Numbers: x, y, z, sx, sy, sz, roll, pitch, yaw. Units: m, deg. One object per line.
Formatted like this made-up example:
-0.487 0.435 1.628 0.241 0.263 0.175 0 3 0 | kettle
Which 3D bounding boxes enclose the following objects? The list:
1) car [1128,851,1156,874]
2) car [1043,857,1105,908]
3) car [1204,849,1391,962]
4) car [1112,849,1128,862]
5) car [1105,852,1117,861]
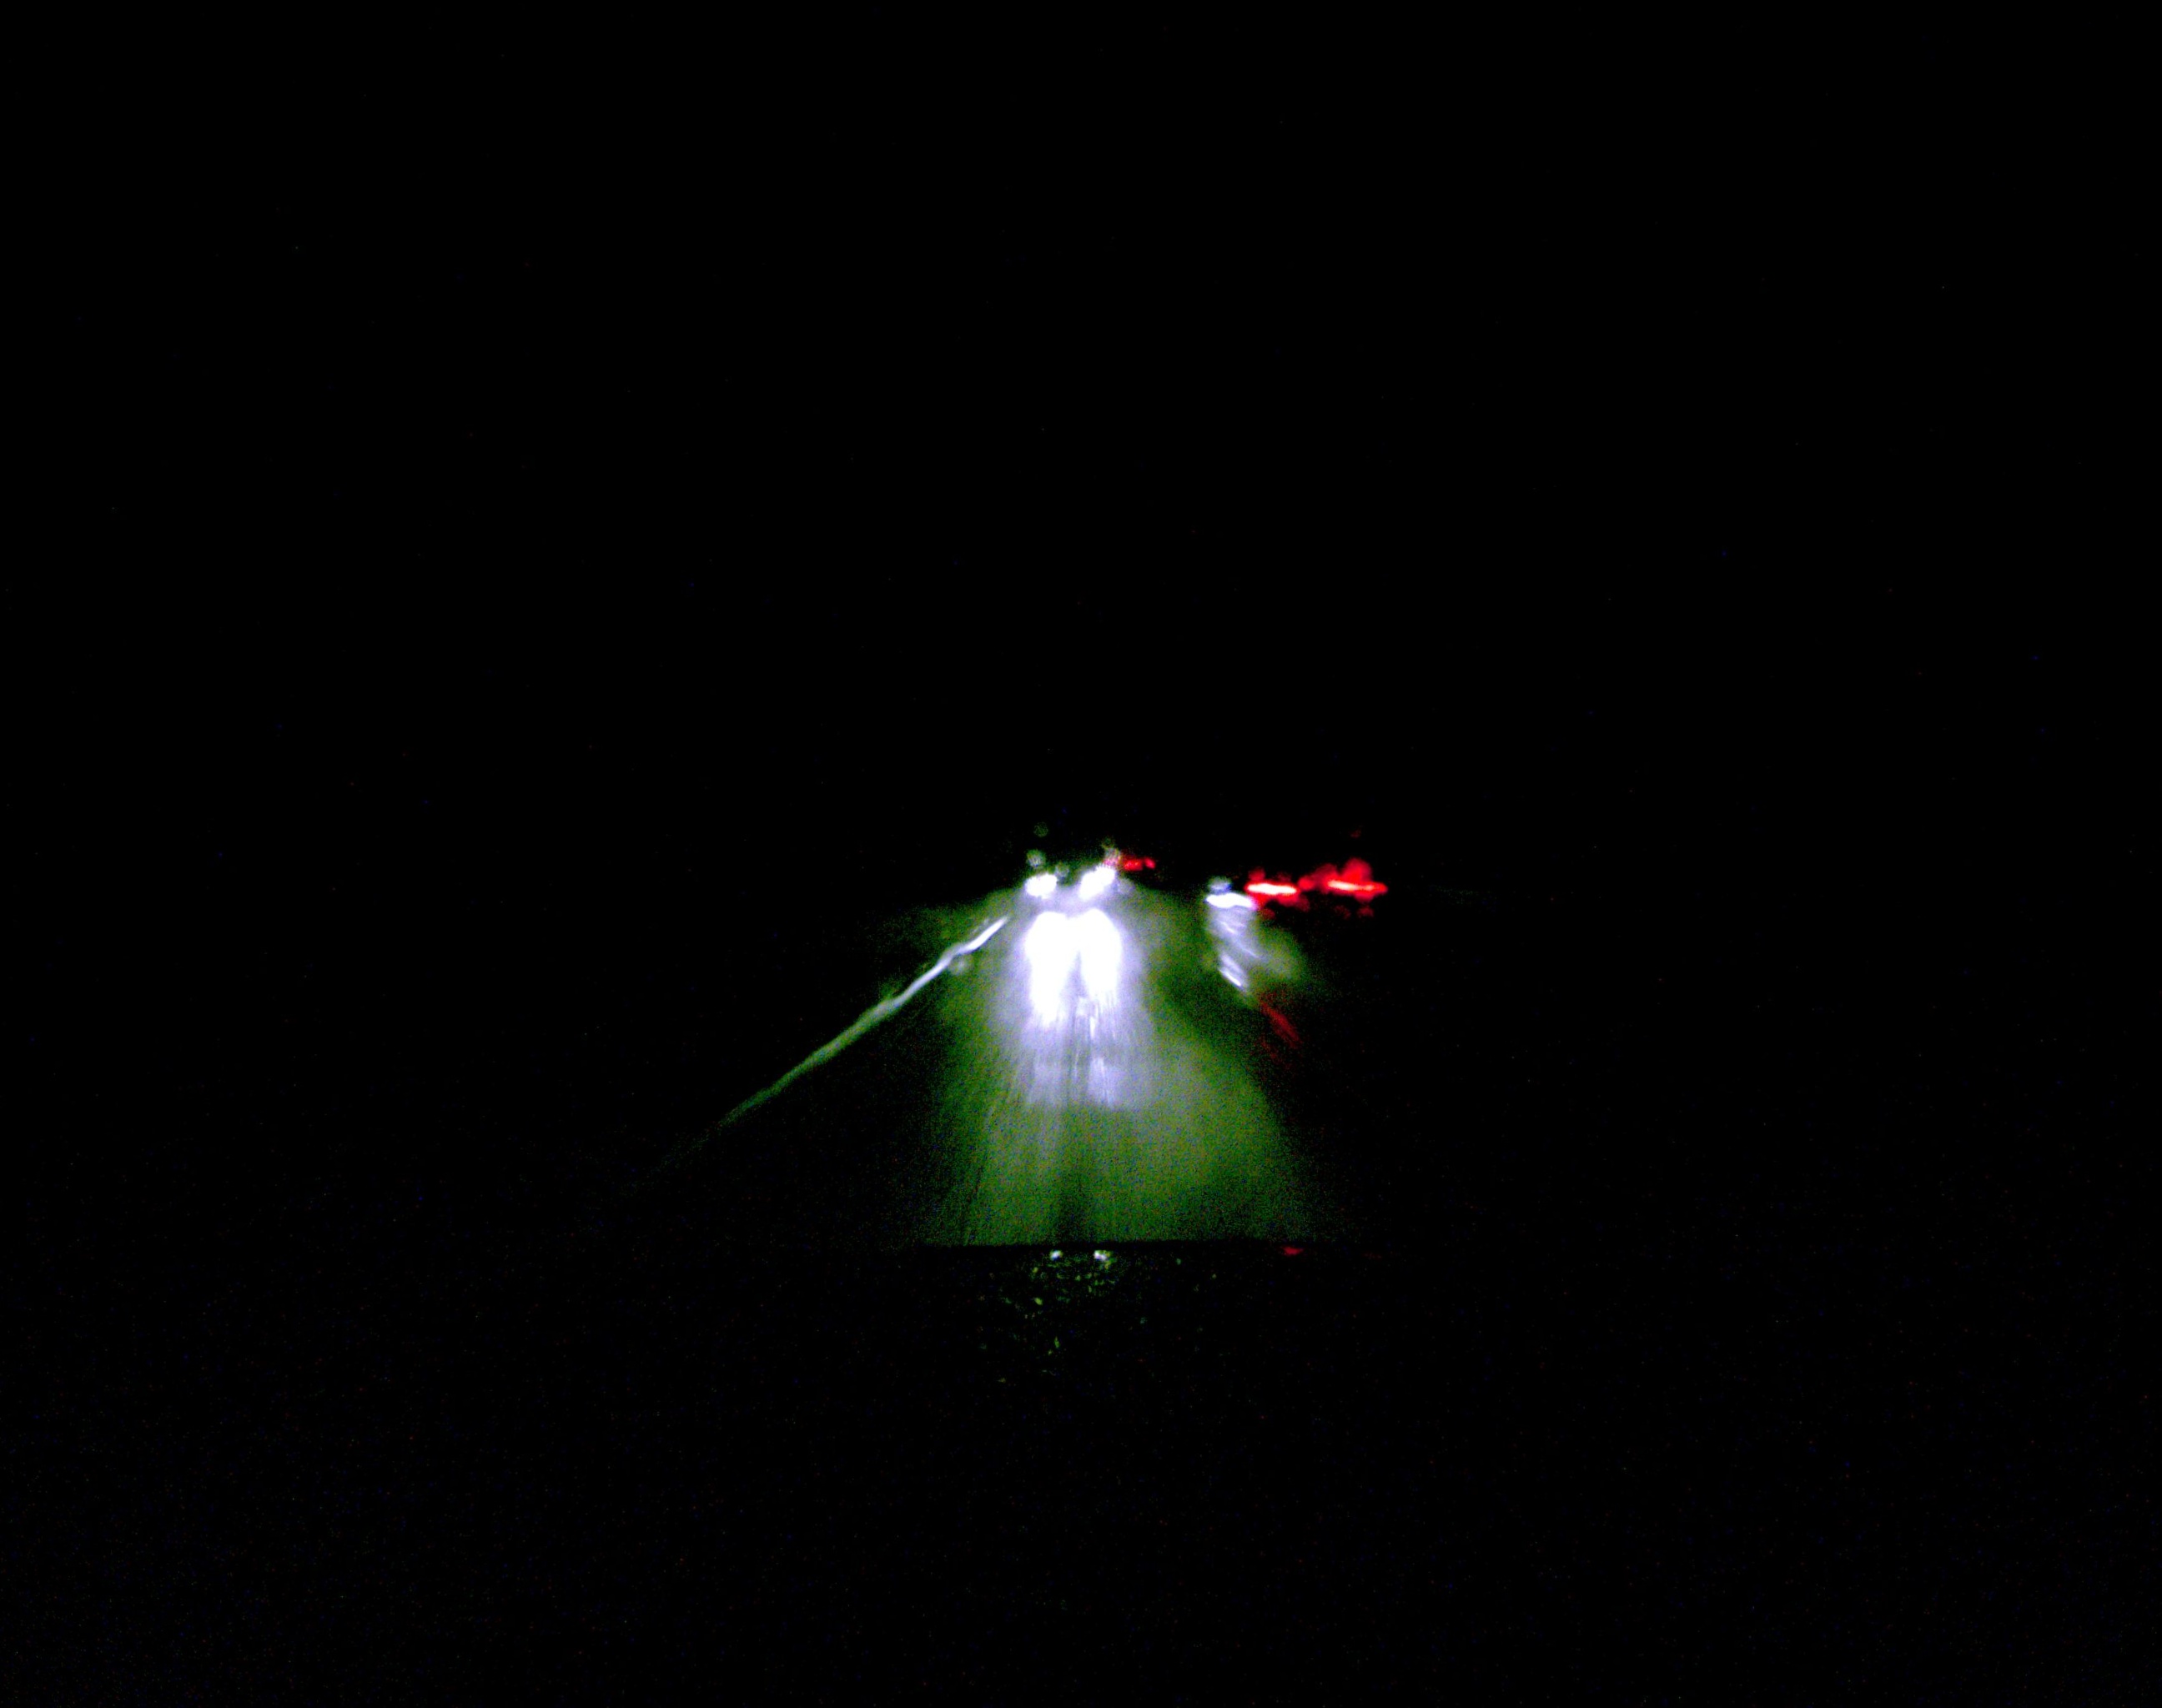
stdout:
4.523 0.610 56.799 1.777 1.501 3.689 -4 0 1 | car
-0.174 0.922 26.089 1.744 1.501 3.601 -4 0 4 | car
3.278 0.706 12.506 1.924 1.462 4.575 -2 0 2 | car
5.079 0.209 99.853 1.864 1.628 4.143 -2 0 1 | car
5.240 0.486 132.812 1.790 1.501 3.600 -3 0 1 | car
